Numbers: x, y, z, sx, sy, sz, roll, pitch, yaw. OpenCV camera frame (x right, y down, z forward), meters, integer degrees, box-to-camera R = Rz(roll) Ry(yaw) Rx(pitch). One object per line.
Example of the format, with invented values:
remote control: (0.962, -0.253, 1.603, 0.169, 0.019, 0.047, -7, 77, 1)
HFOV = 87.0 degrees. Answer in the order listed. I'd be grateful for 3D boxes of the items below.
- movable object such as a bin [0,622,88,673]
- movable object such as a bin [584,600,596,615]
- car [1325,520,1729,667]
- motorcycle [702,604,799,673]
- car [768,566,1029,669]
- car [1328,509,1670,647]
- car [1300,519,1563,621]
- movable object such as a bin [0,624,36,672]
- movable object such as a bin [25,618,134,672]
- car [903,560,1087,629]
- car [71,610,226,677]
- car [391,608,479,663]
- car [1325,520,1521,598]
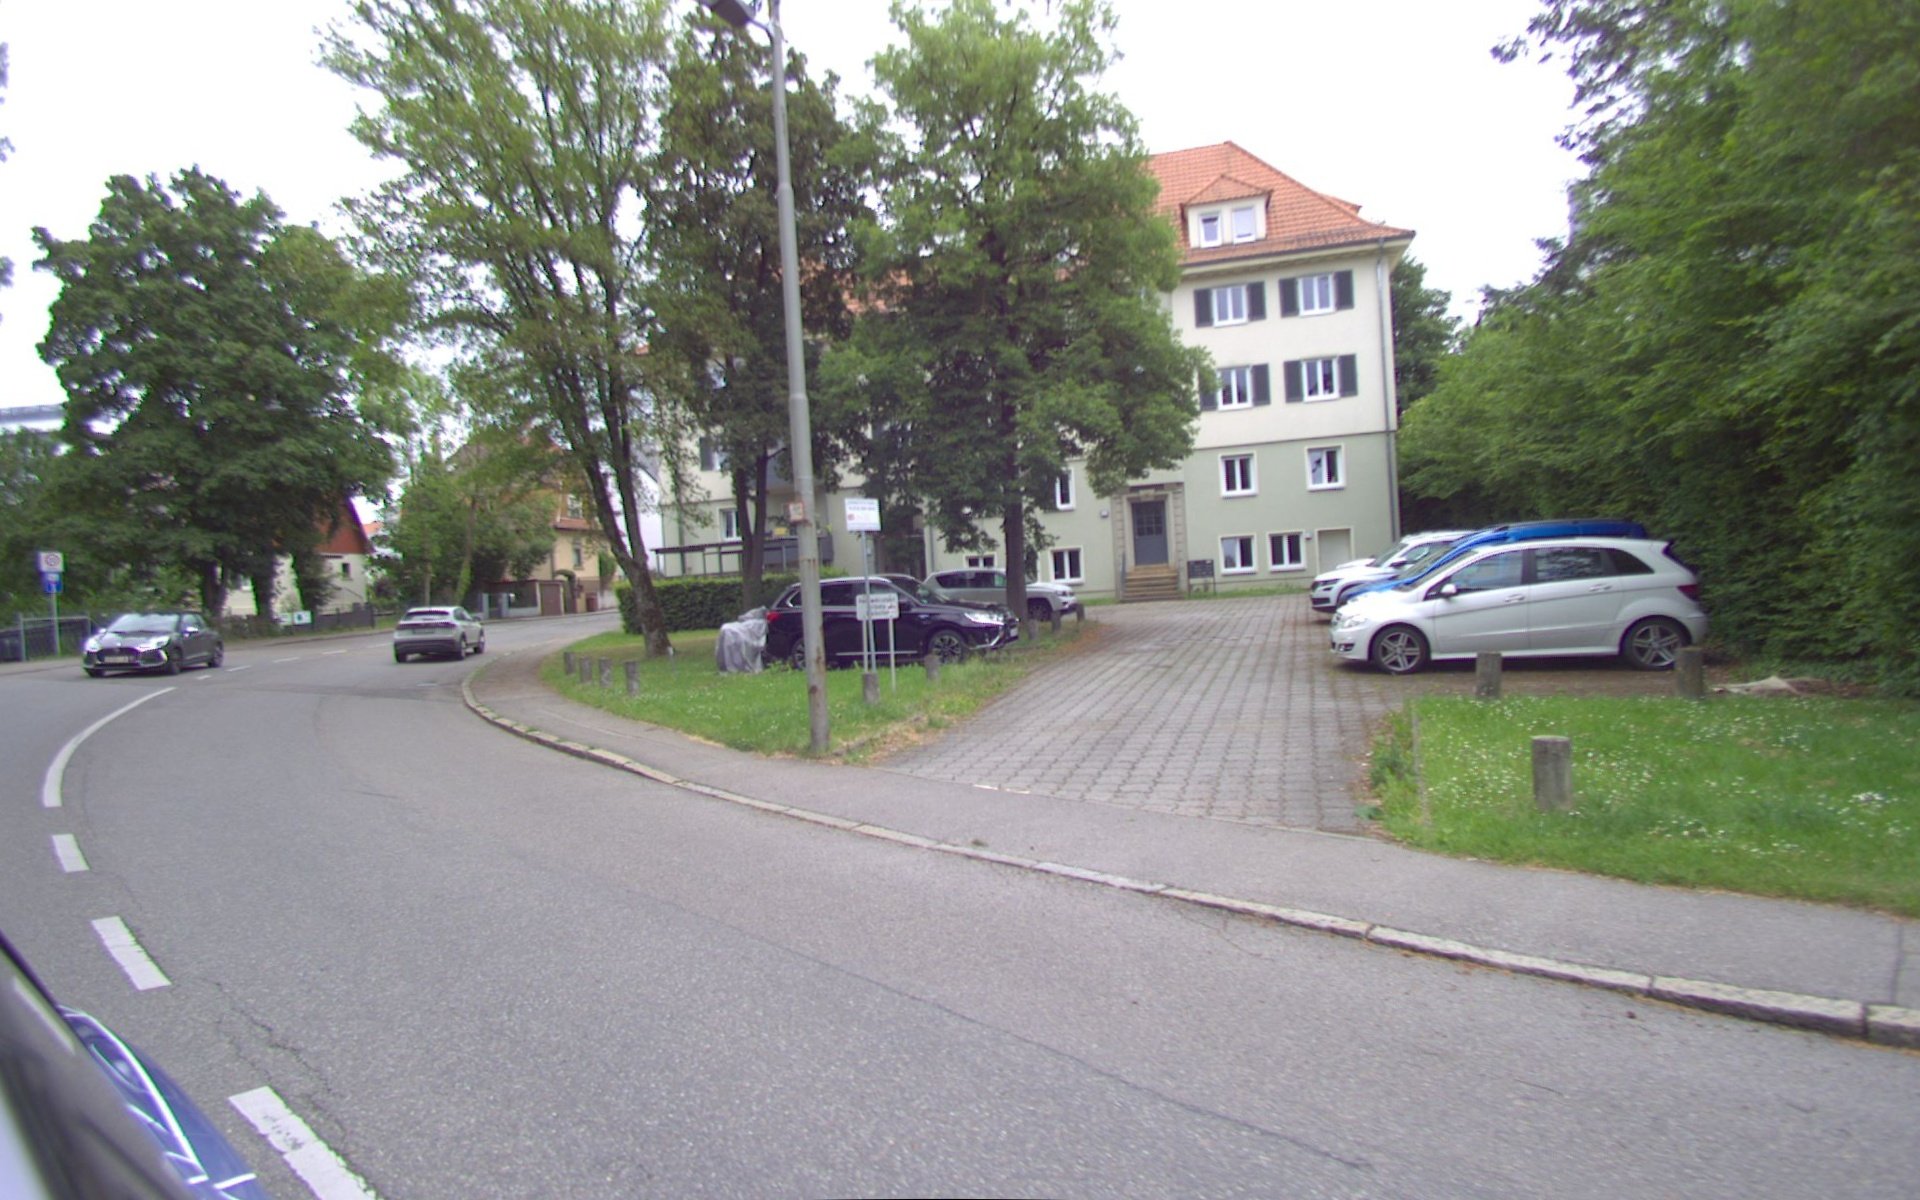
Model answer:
movable object such as a bin: (-35.218, 1.790, 38.325, 2.469, 1.726, 2.205, -3, 1, 6)
movable object such as a bin: (-22.790, 0.473, 62.362, 0.458, 0.931, 0.564, 0, 2, 12)
car: (6.968, -0.050, 12.992, 4.241, 1.605, 1.735, -2, 1, 21)
motorcycle: (-3.983, 0.704, 19.443, 0.858, 1.160, 2.054, -2, 1, 19)
car: (-1.085, 0.306, 18.115, 4.299, 1.605, 1.737, -2, 1, 19)
car: (8.017, -0.313, 15.494, 4.224, 1.745, 1.739, -3, 1, 15)
car: (9.318, -0.580, 20.457, 4.456, 1.690, 1.998, -3, 1, 16)
movable object such as a bin: (-37.539, 1.902, 38.782, 2.208, 1.745, 2.205, -3, 1, 6)
movable object such as a bin: (-32.809, 1.650, 37.764, 2.084, 1.800, 2.205, -3, 1, 6)
car: (0.960, -0.156, 27.114, 4.549, 1.544, 1.947, -3, 1, 16)
car: (-19.219, 0.976, 24.172, 1.619, 1.408, 3.793, 1, 0, -18)
car: (-15.022, 0.985, 29.148, 1.700, 1.468, 4.092, 1, -1, -19)
car: (12.359, -1.070, 27.338, 4.594, 1.743, 1.735, -3, 1, 21)
